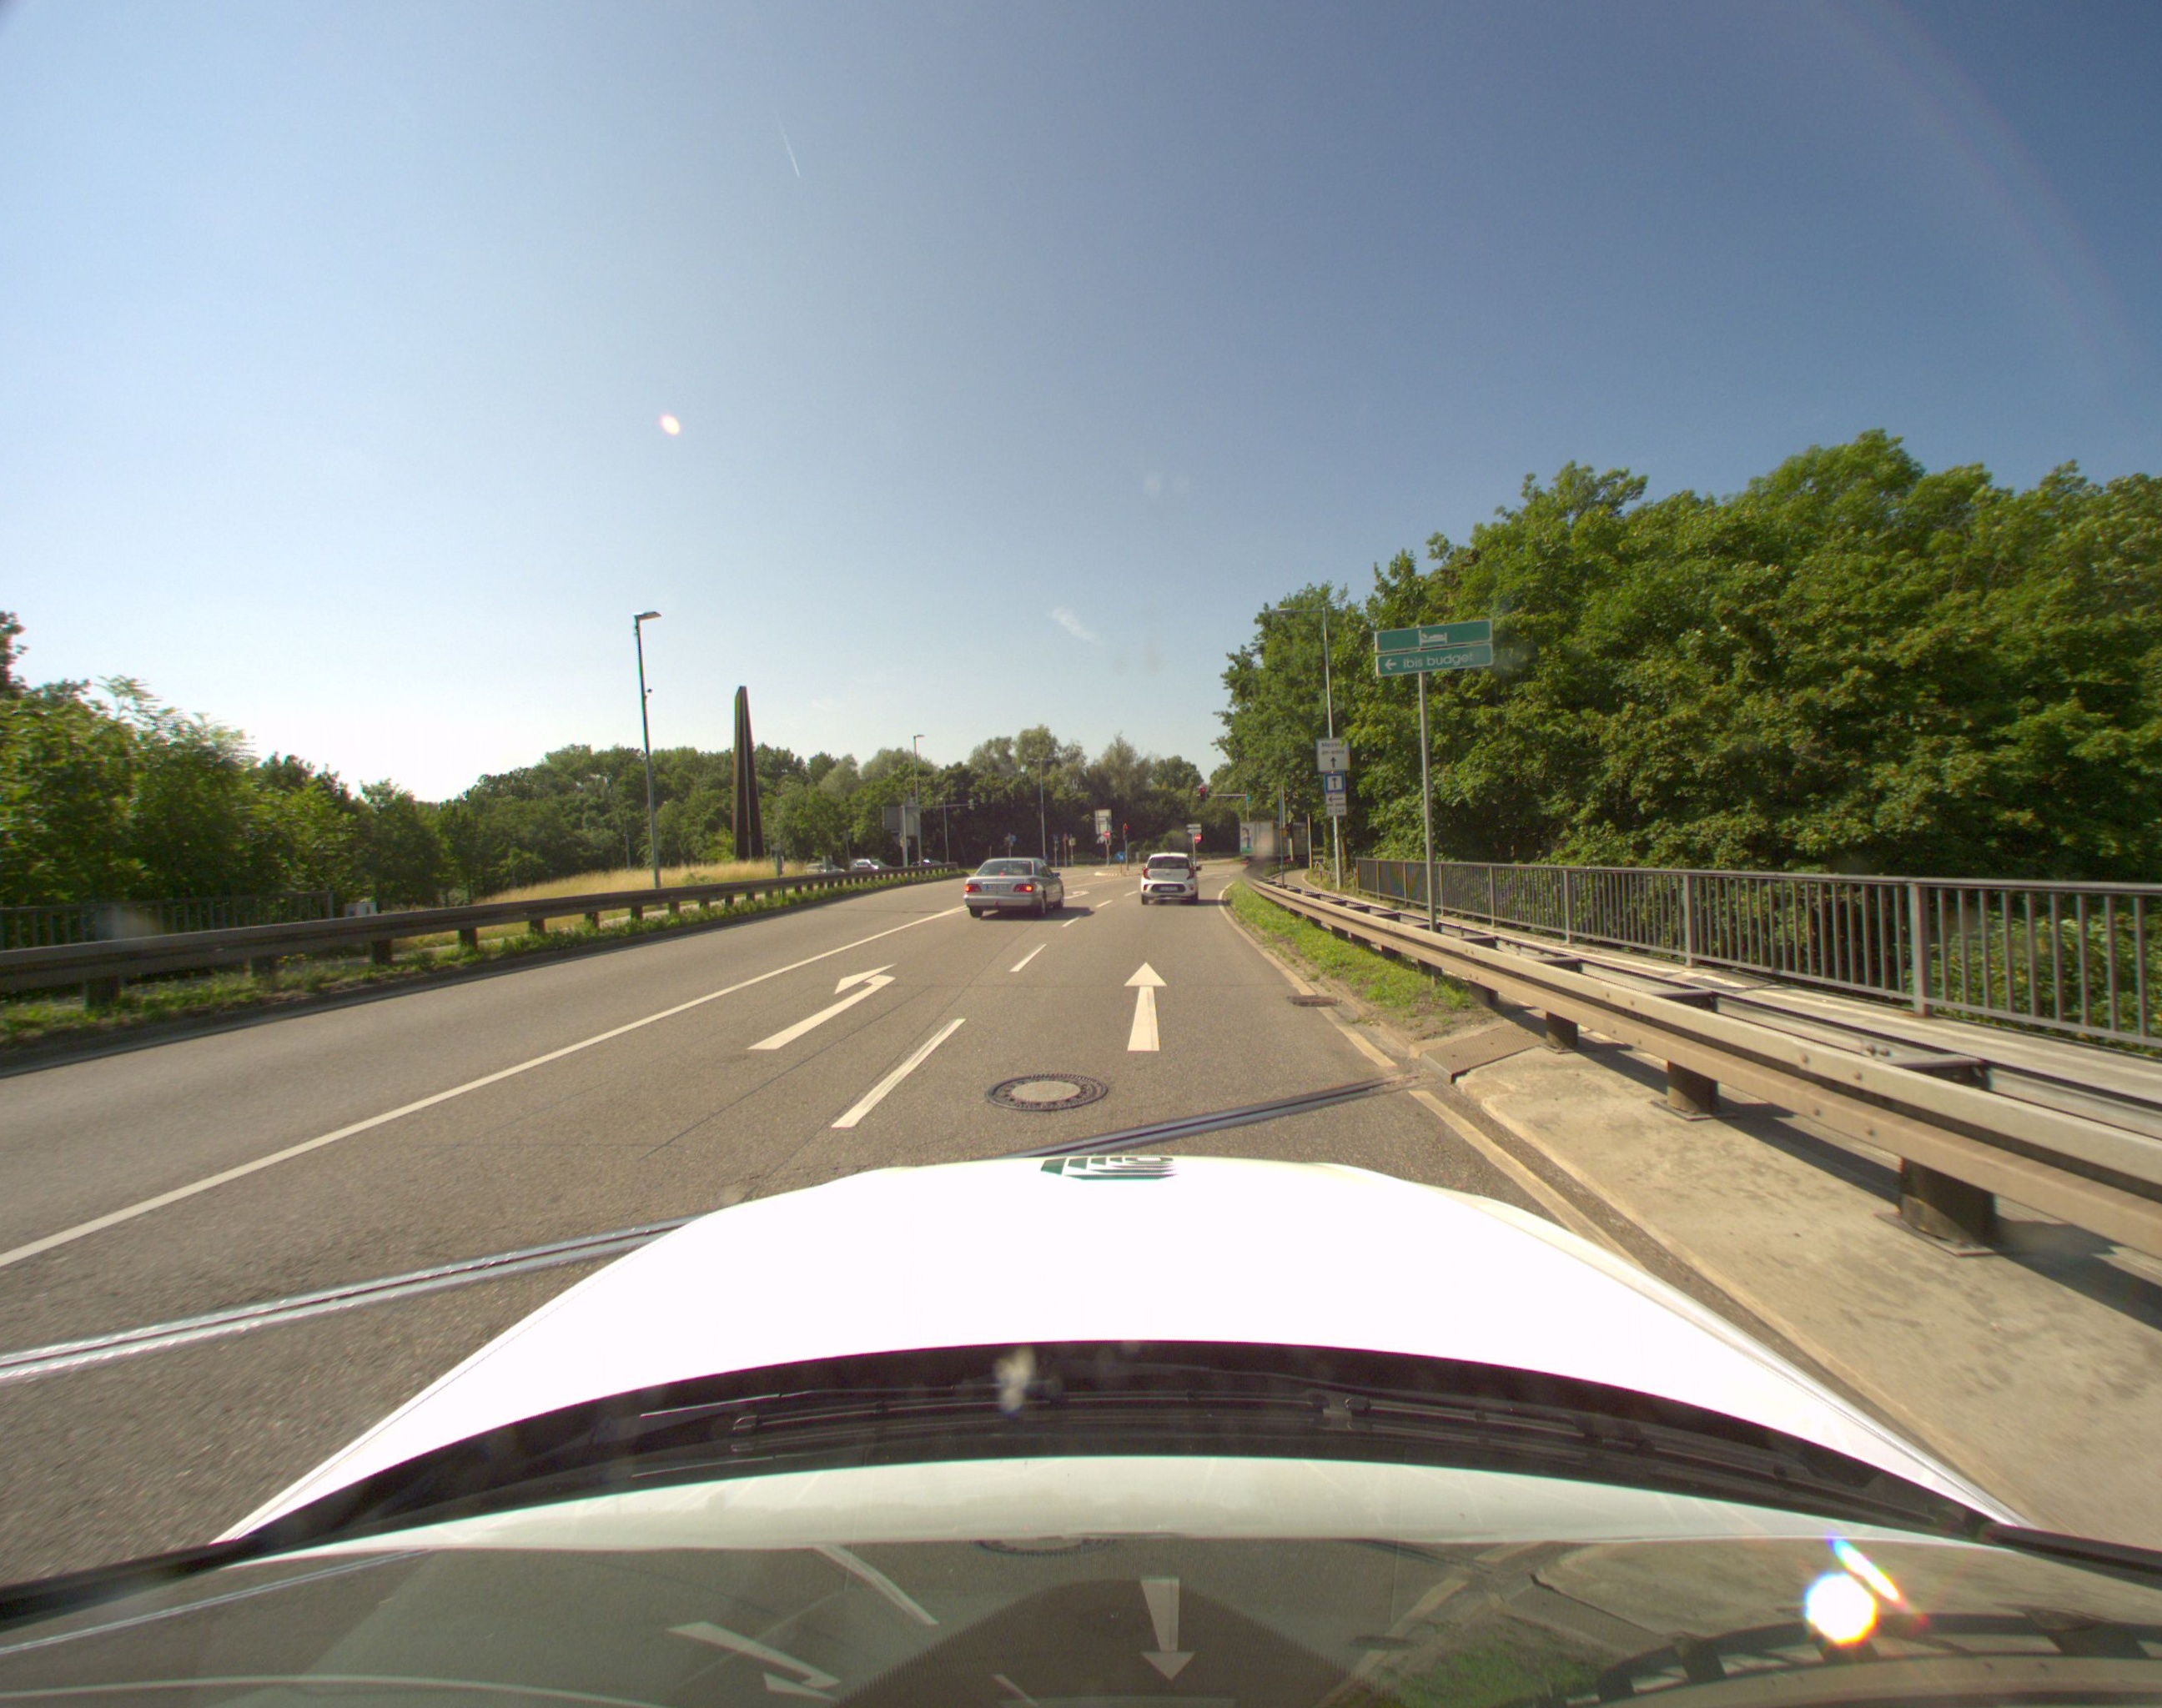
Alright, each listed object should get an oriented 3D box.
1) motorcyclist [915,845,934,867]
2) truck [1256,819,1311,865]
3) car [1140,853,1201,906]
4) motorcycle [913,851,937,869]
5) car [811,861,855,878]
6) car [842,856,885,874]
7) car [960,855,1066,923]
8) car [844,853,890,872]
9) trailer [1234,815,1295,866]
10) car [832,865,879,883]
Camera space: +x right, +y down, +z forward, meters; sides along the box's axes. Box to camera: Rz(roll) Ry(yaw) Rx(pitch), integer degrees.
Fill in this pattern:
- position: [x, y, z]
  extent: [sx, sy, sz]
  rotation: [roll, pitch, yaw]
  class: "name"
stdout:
- position: [-14.185, 0.187, 73.827]
  extent: [1.445, 1.870, 0.898]
  rotation: [-5, -3, 32]
  class: "motorcyclist"
- position: [18.116, -1.025, 72.357]
  extent: [3.231, 3.758, 8.418]
  rotation: [1, 0, 24]
  class: "truck"
- position: [2.690, 0.729, 24.845]
  extent: [1.693, 1.494, 4.006]
  rotation: [0, 0, 5]
  class: "car"
- position: [-14.165, 0.569, 73.800]
  extent: [1.957, 1.529, 0.905]
  rotation: [-4, -3, 32]
  class: "motorcycle"
- position: [-24.409, 1.571, 80.241]
  extent: [3.948, 1.389, 2.137]
  rotation: [-5, -4, 34]
  class: "car"
- position: [-20.401, 1.044, 76.369]
  extent: [3.948, 1.389, 1.778]
  rotation: [-5, -4, 34]
  class: "car"
- position: [-1.566, 0.795, 20.611]
  extent: [1.930, 1.486, 4.905]
  rotation: [-1, 0, 4]
  class: "car"
- position: [-18.592, 0.773, 70.668]
  extent: [3.948, 1.389, 1.713]
  rotation: [-5, -4, 34]
  class: "car"
- position: [14.732, -1.030, 64.948]
  extent: [3.195, 3.758, 7.869]
  rotation: [1, 0, 24]
  class: "trailer"
- position: [-21.348, 1.906, 77.051]
  extent: [3.948, 1.389, 2.137]
  rotation: [-5, -4, 34]
  class: "car"
